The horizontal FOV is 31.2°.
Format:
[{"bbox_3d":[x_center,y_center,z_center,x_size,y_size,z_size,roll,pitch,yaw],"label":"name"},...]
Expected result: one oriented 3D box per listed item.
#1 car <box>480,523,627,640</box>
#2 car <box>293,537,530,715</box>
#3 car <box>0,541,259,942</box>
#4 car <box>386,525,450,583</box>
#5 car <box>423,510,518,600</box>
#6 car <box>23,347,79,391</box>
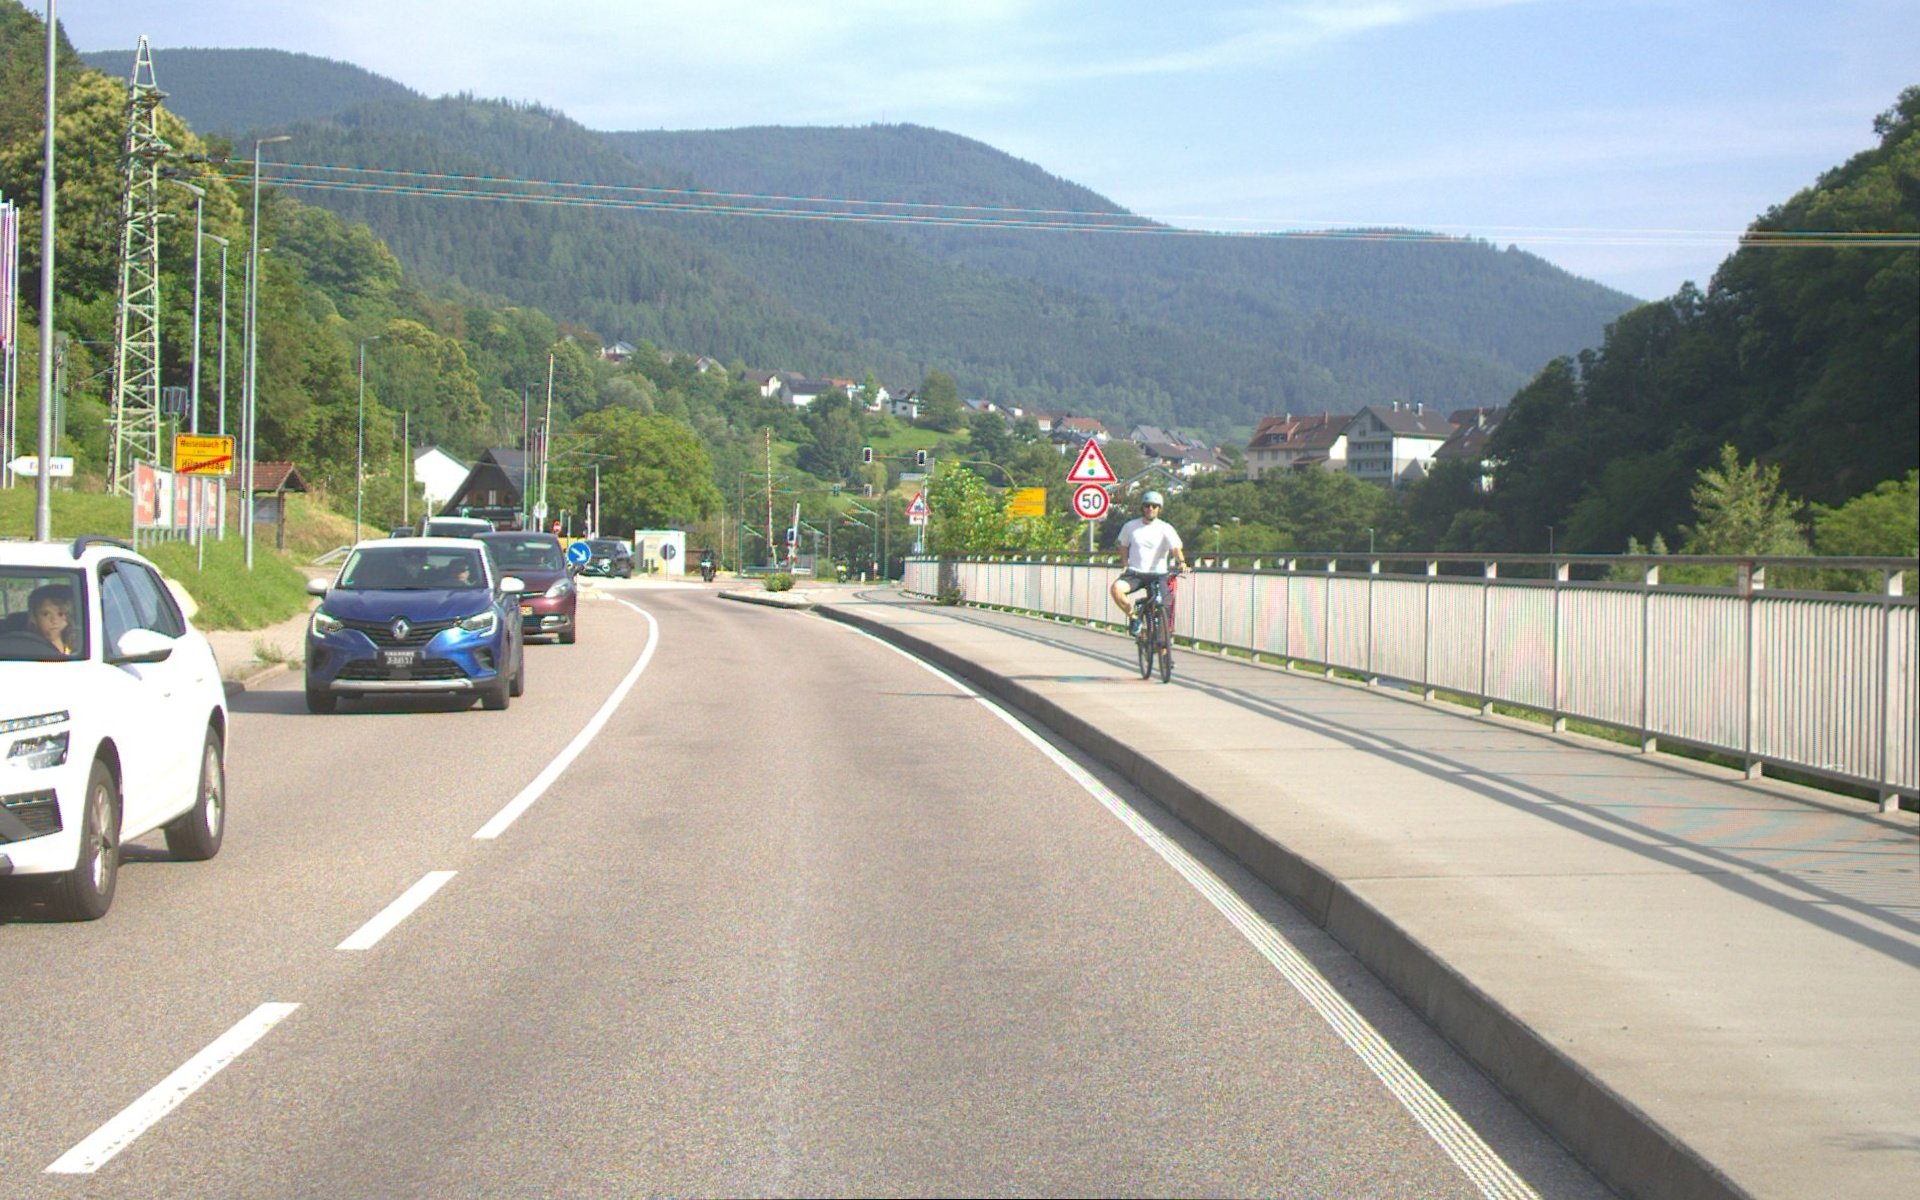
[{"bbox_3d":[-5.875,-0.305,50.081,1.797,1.612,4.463,1,1,-3],"label":"car"},{"bbox_3d":[-5.023,0.188,31.927,1.744,1.521,4.001,-1,1,-3],"label":"car"},{"bbox_3d":[-4.300,0.494,14.949,1.749,1.499,4.191,0,1,-2],"label":"car"},{"bbox_3d":[-15.403,-1.324,97.795,1.705,1.578,4.160,2,1,-8],"label":"car"},{"bbox_3d":[-10.882,-1.034,76.668,1.896,1.881,5.297,2,1,-7],"label":"car"},{"bbox_3d":[-37.769,-9.575,142.900,1.774,1.511,4.273,4,1,-10],"label":"car"}]
